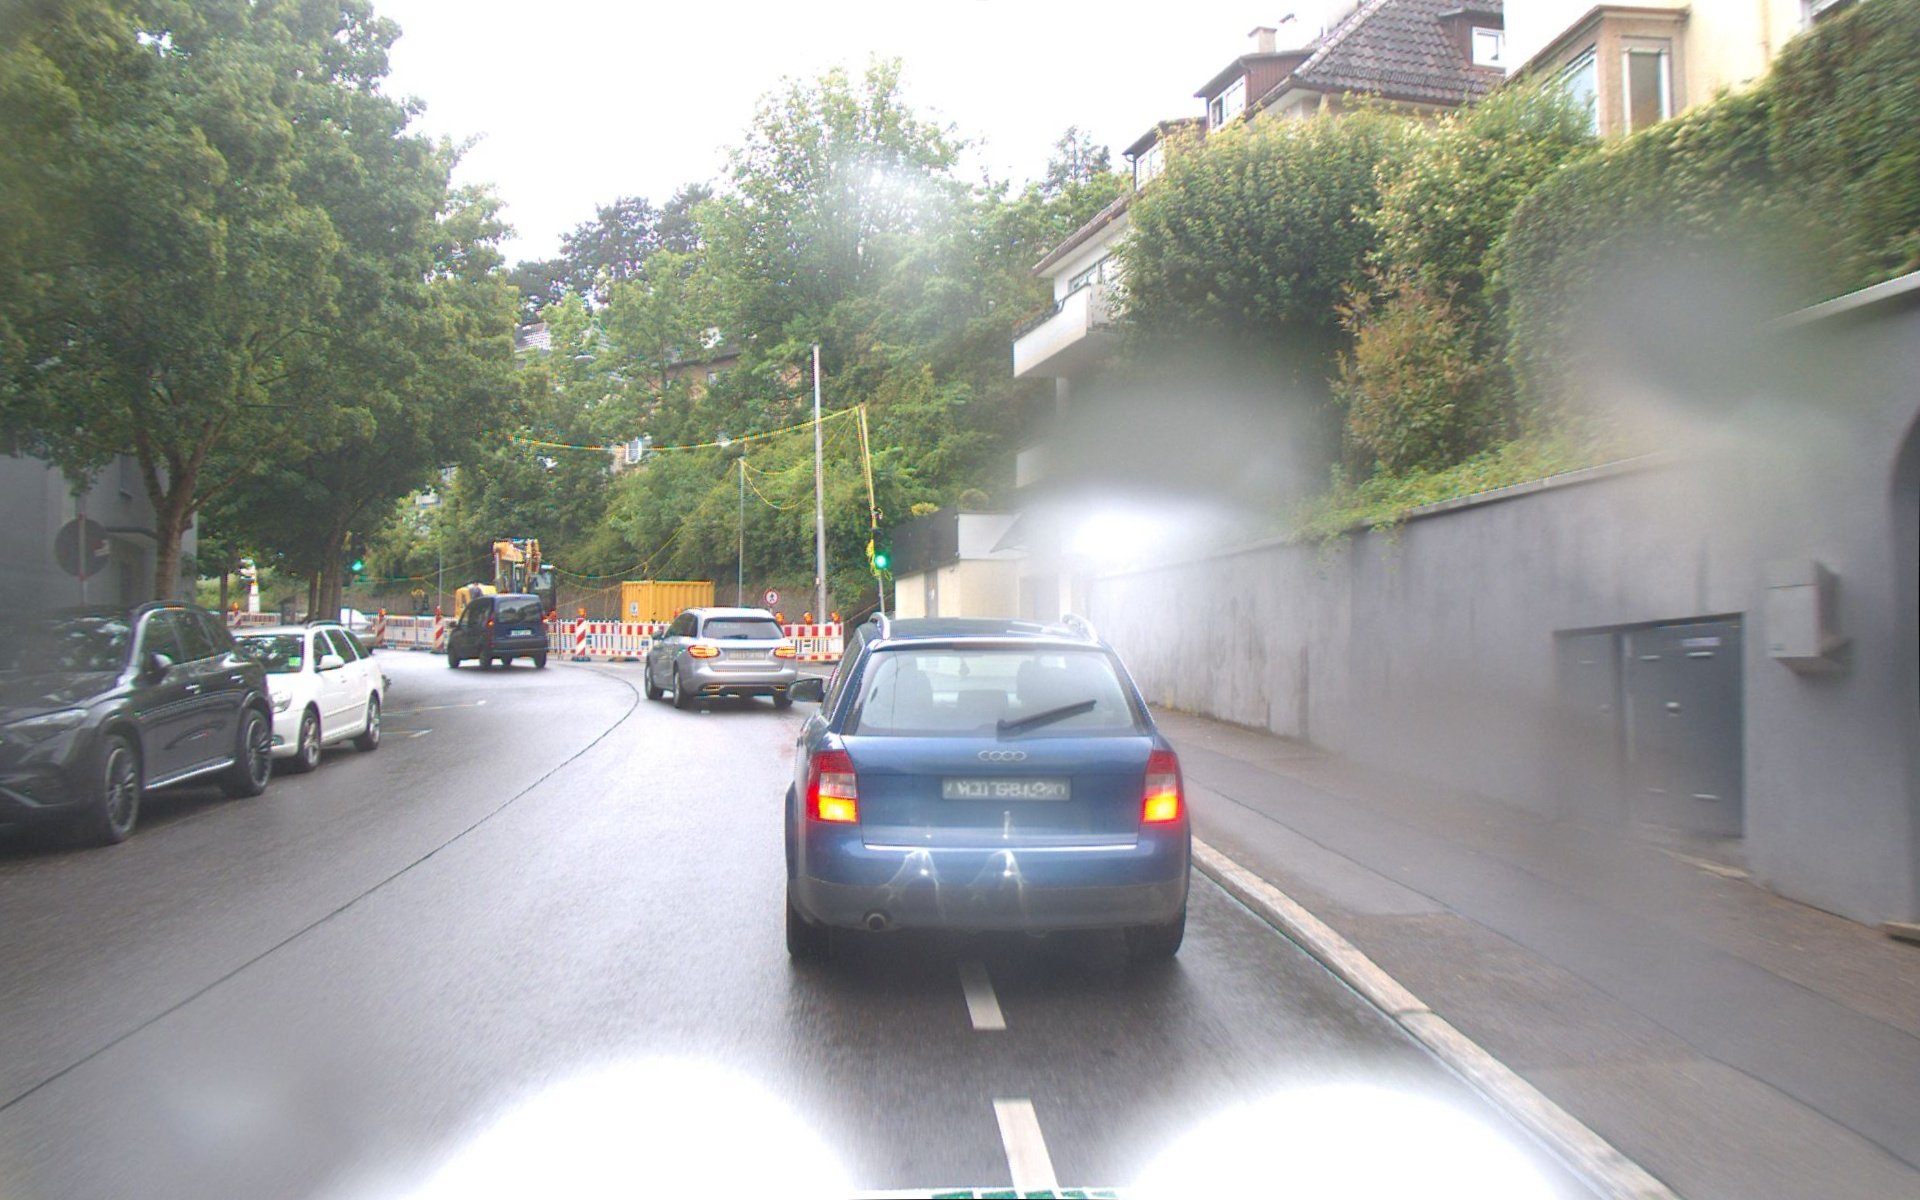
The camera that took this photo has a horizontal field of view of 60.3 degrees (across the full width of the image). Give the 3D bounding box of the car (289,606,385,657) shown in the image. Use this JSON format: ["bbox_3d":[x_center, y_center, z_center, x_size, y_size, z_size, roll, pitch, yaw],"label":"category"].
[{"bbox_3d":[-20.205,1.032,53.560,1.709,1.512,4.019,-2,0,-39],"label":"car"}]

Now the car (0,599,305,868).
[{"bbox_3d":[-6.570,0.872,12.609,1.650,1.636,4.571,-4,1,-6],"label":"car"}]

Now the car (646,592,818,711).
[{"bbox_3d":[-3.624,0.718,25.637,1.897,1.646,4.298,-1,0,-18],"label":"car"}]

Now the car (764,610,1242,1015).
[{"bbox_3d":[0.160,0.796,8.083,1.749,1.467,3.963,1,0,0],"label":"car"}]

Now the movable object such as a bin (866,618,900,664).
[{"bbox_3d":[-1.817,0.971,39.106,0.706,1.050,0.591,-1,0,-10],"label":"movable object such as a bin"}]

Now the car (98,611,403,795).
[{"bbox_3d":[-7.338,0.972,17.591,1.649,1.534,4.311,-4,1,-6],"label":"car"}]

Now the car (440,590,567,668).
[{"bbox_3d":[-11.708,0.744,42.297,1.976,1.825,3.953,-2,0,-33],"label":"car"}]

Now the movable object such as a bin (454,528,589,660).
[{"bbox_3d":[-14.680,-0.209,54.970,2.787,4.084,7.259,-1,0,-28],"label":"movable object such as a bin"}]
